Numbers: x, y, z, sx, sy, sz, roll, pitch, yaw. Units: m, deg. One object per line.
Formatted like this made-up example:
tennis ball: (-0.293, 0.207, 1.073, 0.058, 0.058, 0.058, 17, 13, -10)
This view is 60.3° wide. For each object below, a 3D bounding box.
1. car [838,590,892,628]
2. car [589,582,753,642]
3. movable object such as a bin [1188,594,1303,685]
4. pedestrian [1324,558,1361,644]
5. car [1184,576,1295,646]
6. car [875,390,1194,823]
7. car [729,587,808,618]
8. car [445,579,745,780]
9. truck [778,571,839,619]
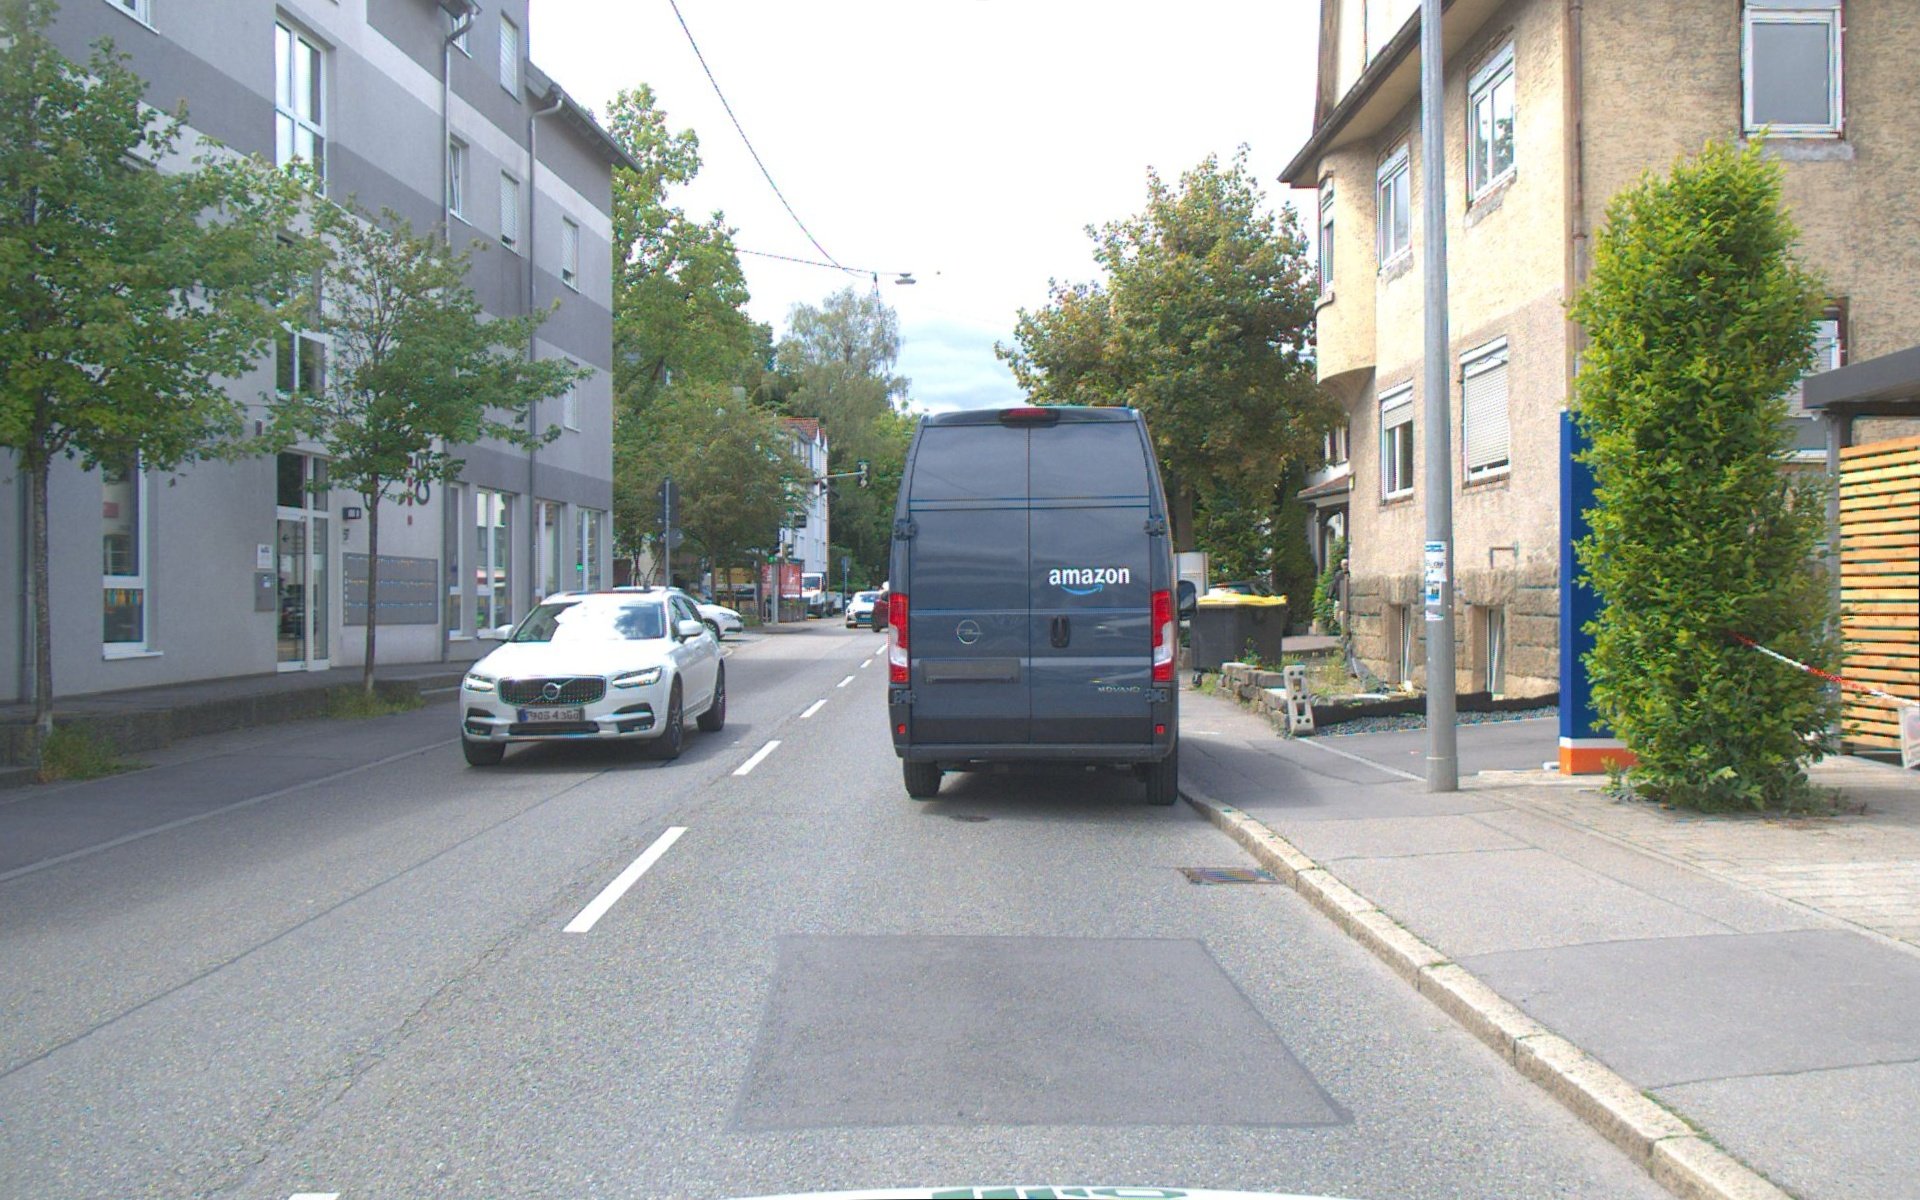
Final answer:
car: (-3.774, 0.347, 66.178, 1.835, 1.449, 4.116, 0, 0, 1)
car: (-7.847, 0.315, 45.153, 4.125, 1.540, 1.822, 1, 1, 1)
movable object such as a bin: (4.170, 0.553, 24.198, 1.170, 1.288, 1.197, 0, 0, -31)
pedestrian: (8.181, 0.026, 35.412, 0.724, 1.813, 0.900, 0, 0, 10)
car: (7.227, 0.243, 42.436, 1.717, 1.543, 4.077, -4, 0, 25)
car: (0.850, 0.027, 14.008, 2.102, 2.819, 6.254, 0, 0, 7)
car: (-9.109, 0.124, 79.001, 3.618, 1.450, 1.804, 1, 0, -3)
car: (-3.367, 0.653, 16.249, 1.859, 1.587, 4.800, -3, 0, -1)
truck: (-7.836, -0.249, 86.294, 2.178, 2.421, 6.328, 0, 0, 4)
